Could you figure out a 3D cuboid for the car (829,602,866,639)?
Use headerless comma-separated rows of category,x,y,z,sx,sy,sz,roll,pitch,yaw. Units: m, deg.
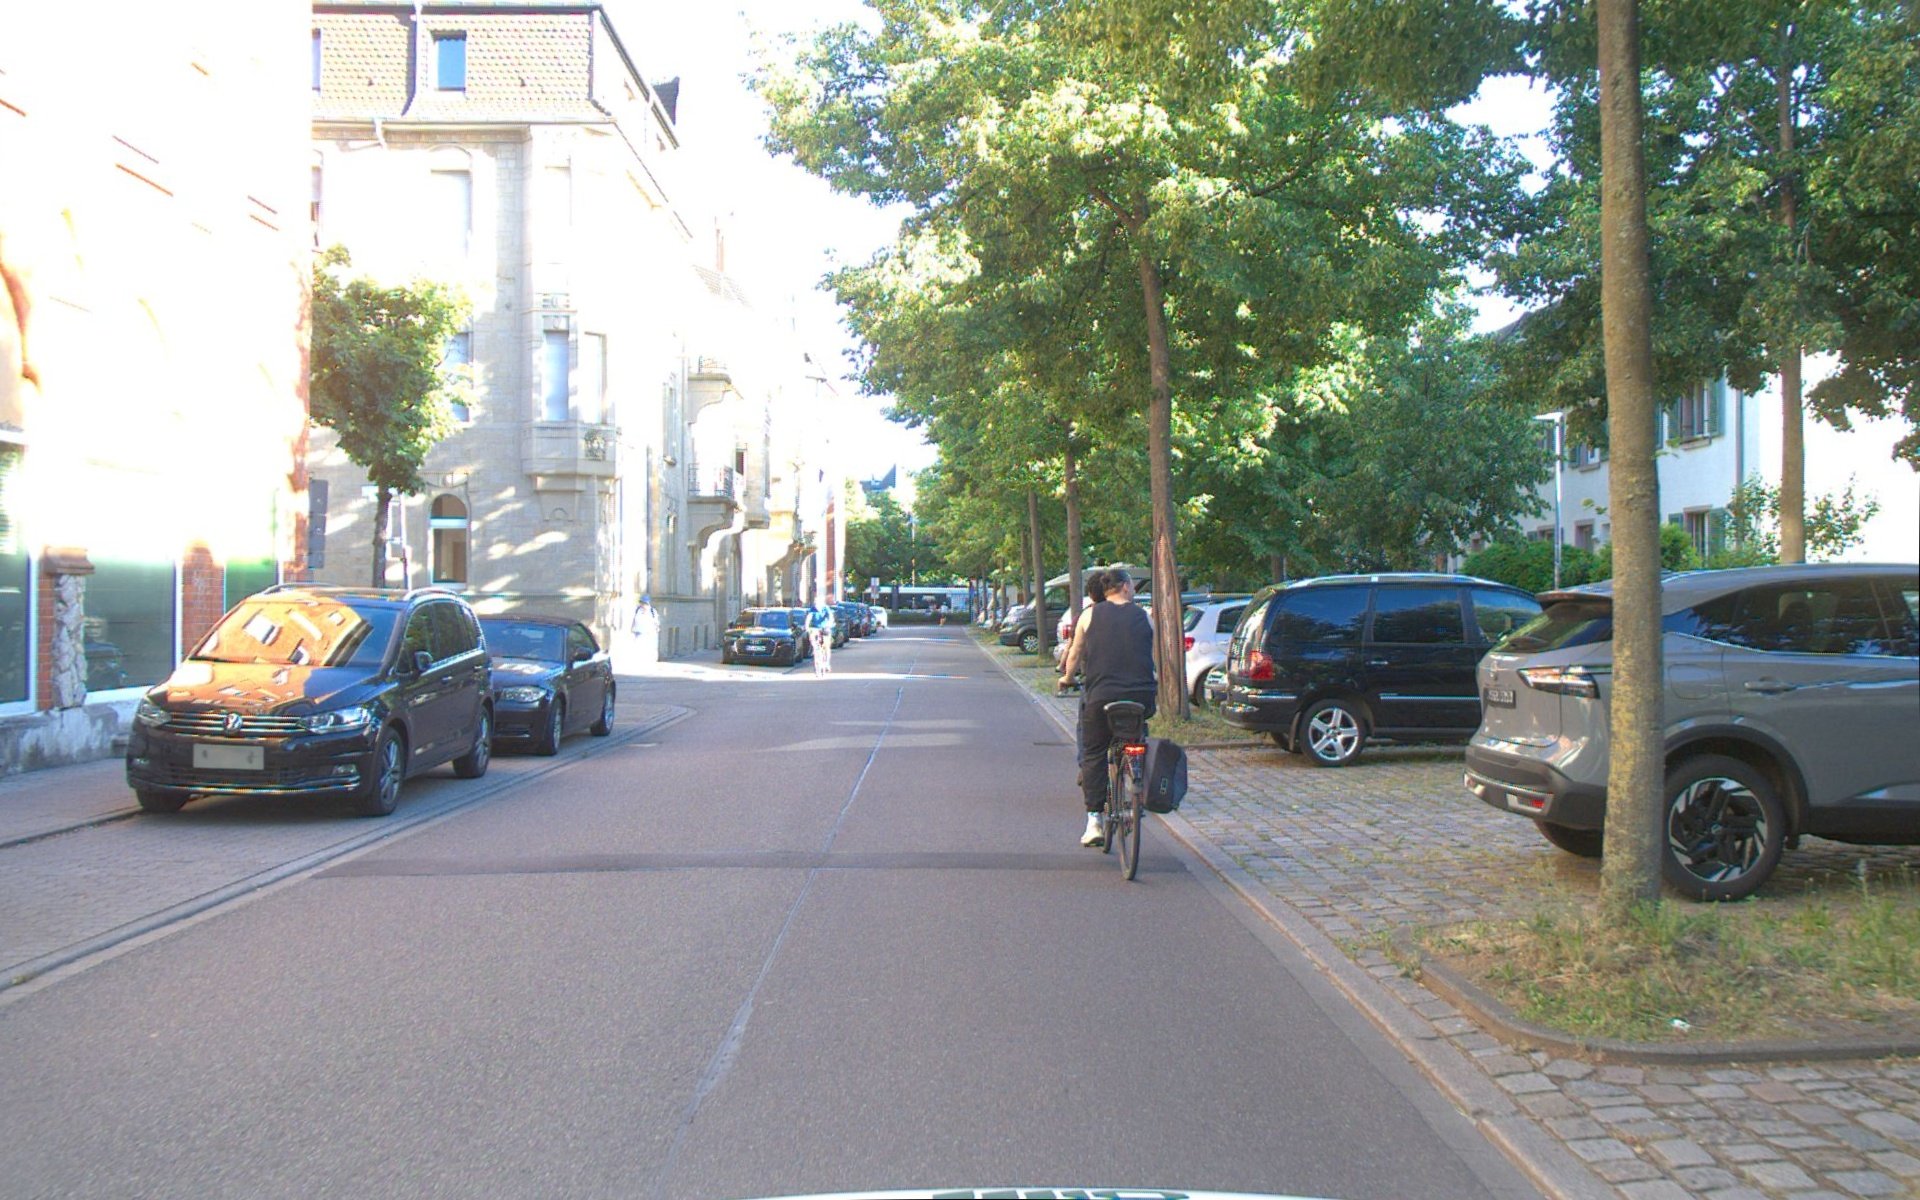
car,-5.885,1.058,86.862,1.607,1.814,4.354,2,0,0

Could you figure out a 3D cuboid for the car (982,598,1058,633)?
car,3.322,0.853,91.321,4.002,1.678,1.640,-3,-1,-3

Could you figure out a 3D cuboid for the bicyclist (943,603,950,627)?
bicyclist,-0.982,1.126,122.785,0.476,1.775,0.655,1,-1,-1

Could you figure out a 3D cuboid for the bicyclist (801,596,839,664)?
bicyclist,-3.100,0.657,36.691,0.744,1.479,0.948,-1,-1,-1

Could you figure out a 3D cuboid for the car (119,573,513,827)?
car,-4.963,0.707,13.430,1.636,1.710,4.347,1,-1,-3

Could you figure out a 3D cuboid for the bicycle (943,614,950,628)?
bicycle,-0.989,1.545,122.786,0.488,1.023,1.473,1,-2,-1

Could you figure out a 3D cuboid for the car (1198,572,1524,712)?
car,4.978,0.505,20.834,3.647,1.479,1.588,-3,0,-1

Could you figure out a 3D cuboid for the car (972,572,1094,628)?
car,4.314,-0.002,98.576,7.005,3.030,2.462,-2,-1,-4

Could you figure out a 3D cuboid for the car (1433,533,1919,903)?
car,5.045,0.484,8.891,4.386,1.662,1.874,-3,0,-2

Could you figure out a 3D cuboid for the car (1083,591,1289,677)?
car,4.627,0.679,34.231,3.985,1.502,1.694,-3,1,0

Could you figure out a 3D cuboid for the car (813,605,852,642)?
car,-5.628,1.031,73.247,1.564,1.515,2.735,3,0,-2

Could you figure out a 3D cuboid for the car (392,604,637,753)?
car,-4.909,0.814,18.834,1.602,1.435,4.332,2,-1,-1

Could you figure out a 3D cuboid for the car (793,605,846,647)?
car,-5.363,0.976,63.515,1.641,1.455,4.550,2,0,0

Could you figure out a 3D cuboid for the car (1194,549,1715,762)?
car,4.696,0.517,16.229,4.487,1.706,1.907,-3,0,1

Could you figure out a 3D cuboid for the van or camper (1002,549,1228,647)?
van or camper,4.939,-0.057,53.683,7.000,2.693,2.465,-3,0,1

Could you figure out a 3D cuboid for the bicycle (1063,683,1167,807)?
bicycle,1.200,1.113,13.106,0.620,0.813,1.832,-1,0,-1

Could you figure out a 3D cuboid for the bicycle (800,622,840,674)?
bicycle,-3.089,1.053,36.712,0.742,1.127,1.907,-1,-1,-1

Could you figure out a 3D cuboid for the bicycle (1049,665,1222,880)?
bicycle,0.981,0.953,9.723,0.722,1.072,1.955,2,-1,-2

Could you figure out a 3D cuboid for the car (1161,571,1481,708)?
car,5.095,0.548,23.751,4.184,1.662,1.691,-3,0,2

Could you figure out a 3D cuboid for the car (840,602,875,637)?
car,-5.777,1.076,93.586,1.654,1.857,4.272,2,0,0

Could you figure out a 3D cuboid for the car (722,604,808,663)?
car,-5.197,0.880,44.704,1.774,1.451,4.896,2,-1,-1

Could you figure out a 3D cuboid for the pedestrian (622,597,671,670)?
pedestrian,-7.101,0.739,37.482,0.870,1.604,1.053,-1,0,-1

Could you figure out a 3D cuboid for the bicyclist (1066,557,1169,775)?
bicyclist,1.235,0.505,13.112,0.675,1.655,0.998,1,-1,-2

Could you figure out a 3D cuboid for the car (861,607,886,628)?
car,-6.367,1.275,121.795,1.551,1.399,4.131,2,0,0

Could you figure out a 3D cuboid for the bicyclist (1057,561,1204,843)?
bicyclist,0.993,0.584,9.793,0.715,1.575,0.884,2,-1,-2

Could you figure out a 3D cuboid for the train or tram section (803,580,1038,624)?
train or tram section,-3.739,0.283,164.269,23.484,3.773,4.255,2,-1,-23

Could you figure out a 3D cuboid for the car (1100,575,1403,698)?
car,4.667,0.568,26.839,4.453,1.662,1.809,-3,0,-7

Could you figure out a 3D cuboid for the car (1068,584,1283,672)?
car,4.744,0.607,36.864,4.525,1.739,1.833,-2,0,0

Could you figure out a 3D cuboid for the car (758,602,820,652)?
car,-5.266,0.842,51.378,1.662,1.479,4.025,0,-1,-2

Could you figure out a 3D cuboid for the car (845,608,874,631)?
car,-6.288,1.221,104.201,1.551,1.367,4.131,2,0,0

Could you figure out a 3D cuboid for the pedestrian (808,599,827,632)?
pedestrian,-7.628,0.832,88.652,0.919,1.773,0.735,1,-1,0

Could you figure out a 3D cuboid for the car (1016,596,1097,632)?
car,4.521,0.663,77.872,3.695,1.628,1.691,-1,-2,1
